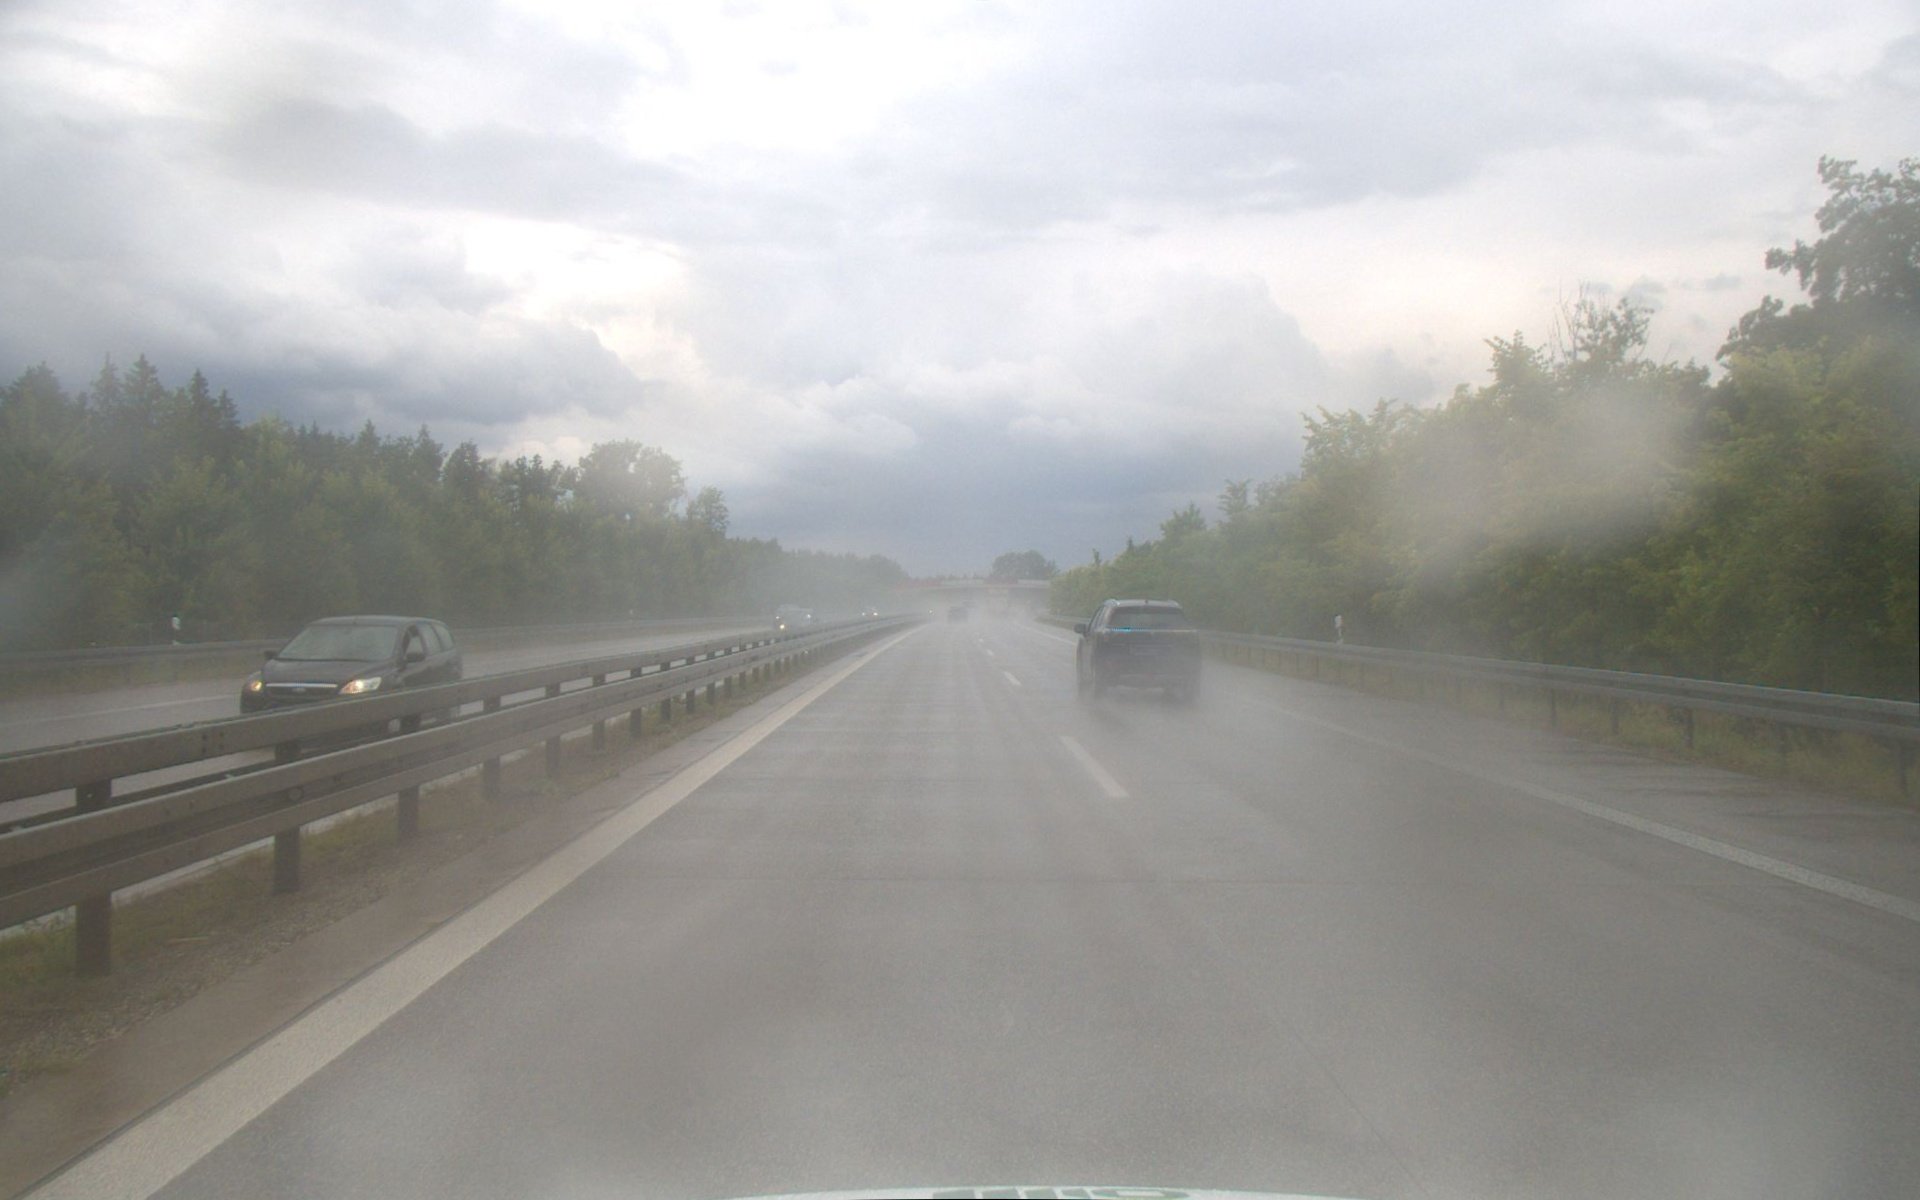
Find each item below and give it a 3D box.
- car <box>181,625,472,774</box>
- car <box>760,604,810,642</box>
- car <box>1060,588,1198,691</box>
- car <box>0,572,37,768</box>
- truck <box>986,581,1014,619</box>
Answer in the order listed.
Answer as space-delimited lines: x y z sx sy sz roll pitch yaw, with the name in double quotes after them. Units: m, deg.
-7.817 1.155 20.932 1.953 1.509 4.556 -2 0 -1 "car"
-8.249 1.070 78.278 1.953 1.631 3.999 -2 0 -1 "car"
2.795 0.657 28.094 1.856 1.604 3.630 1 -1 -2 "car"
-11.225 0.799 15.709 1.953 2.100 5.312 -2 0 -1 "car"
4.824 0.049 197.545 3.176 4.515 8.247 0 -1 2 "truck"
